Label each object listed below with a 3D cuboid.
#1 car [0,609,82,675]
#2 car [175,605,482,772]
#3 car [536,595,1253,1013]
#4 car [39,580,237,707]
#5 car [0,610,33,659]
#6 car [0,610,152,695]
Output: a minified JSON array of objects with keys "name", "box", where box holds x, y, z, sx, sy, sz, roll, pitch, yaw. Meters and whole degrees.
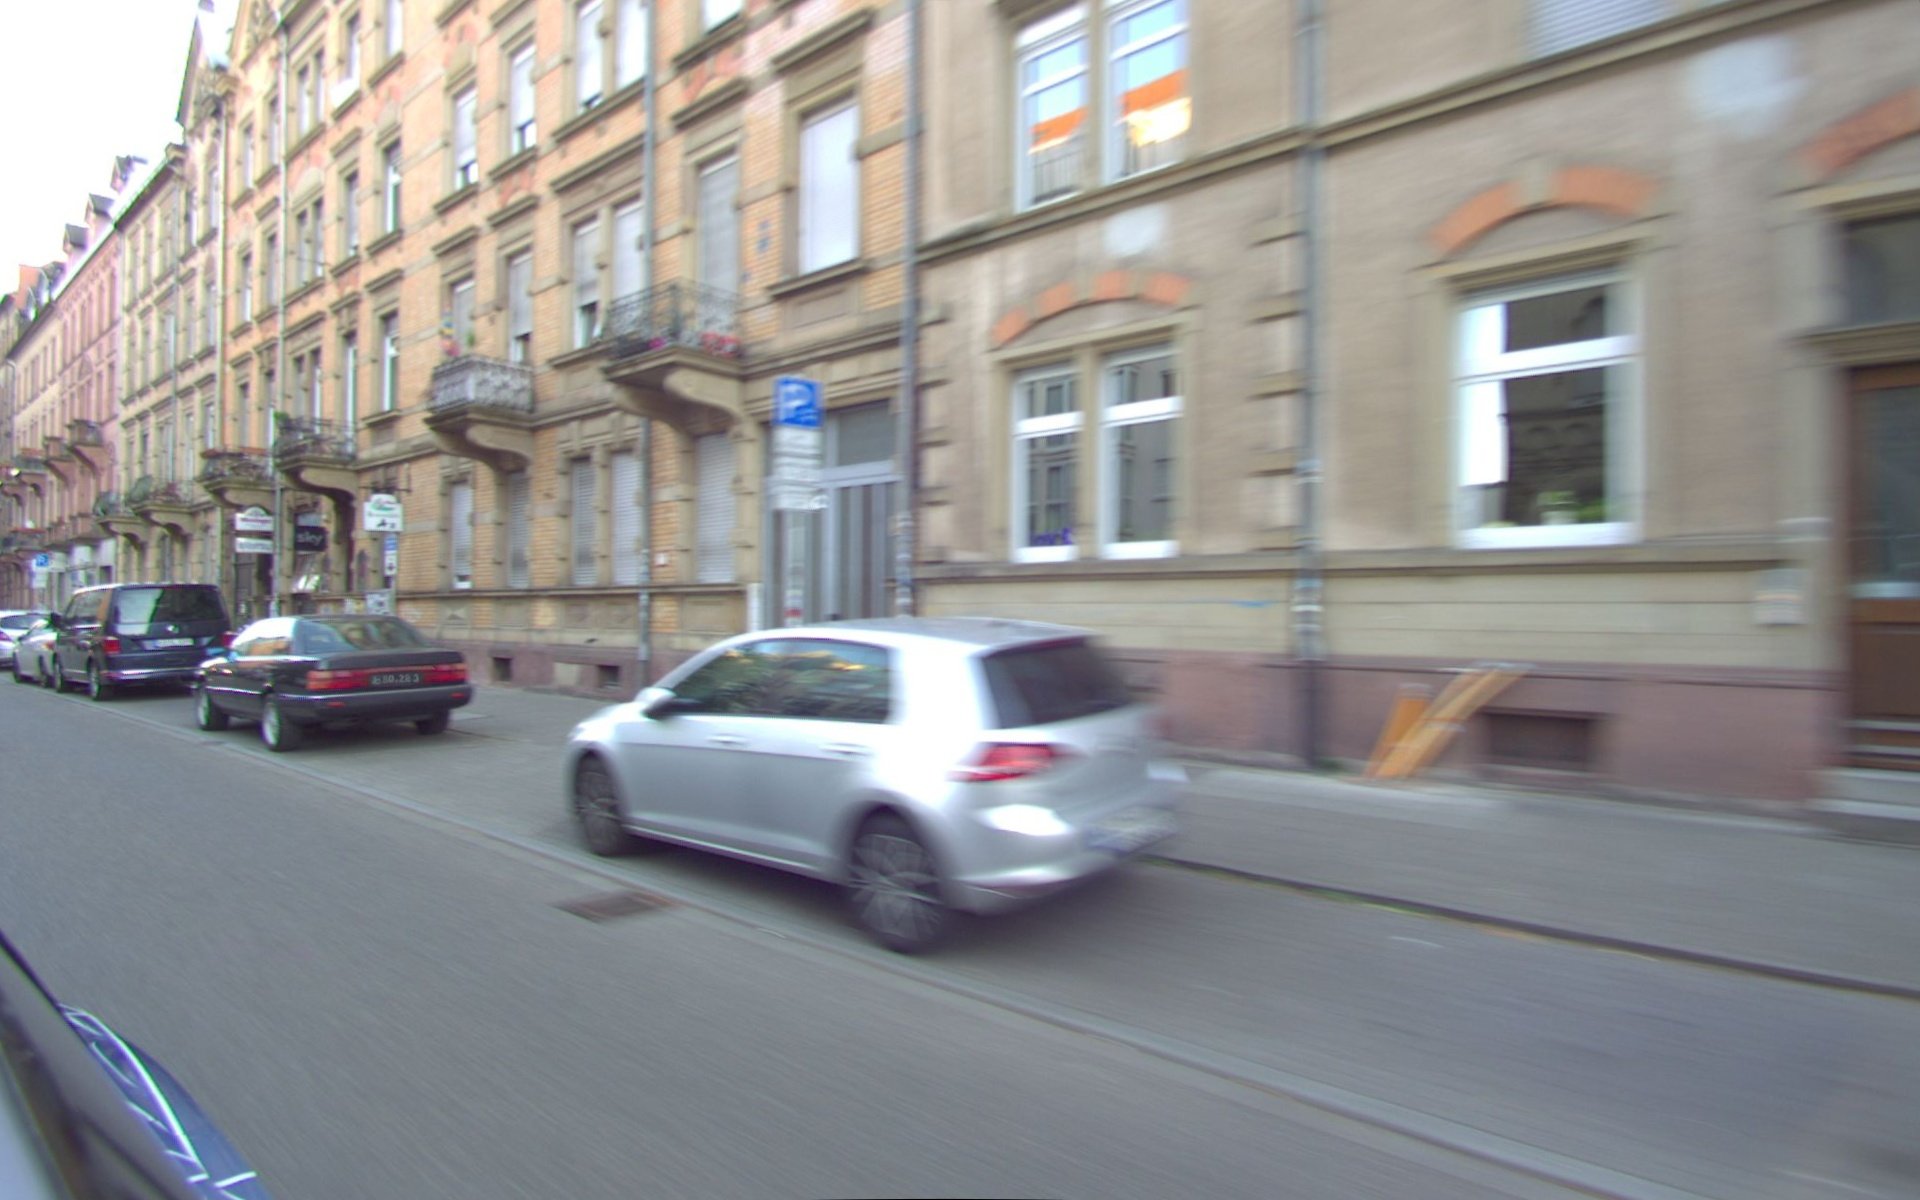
[{"name":"car","box":[-24.465,1.066,26.237,4.051,1.486,1.737,-1,3,38]},{"name":"car","box":[-7.469,0.890,11.800,4.276,1.486,1.736,-1,3,40]},{"name":"car","box":[-0.613,0.807,5.863,4.056,1.486,1.735,-1,4,42]},{"name":"car","box":[-14.707,0.705,18.043,4.288,1.975,1.851,-1,1,39]},{"name":"car","box":[-31.225,1.146,32.252,4.051,1.445,1.737,-1,3,38]},{"name":"car","box":[-18.718,1.055,21.273,4.051,1.486,1.737,-1,3,38]}]
